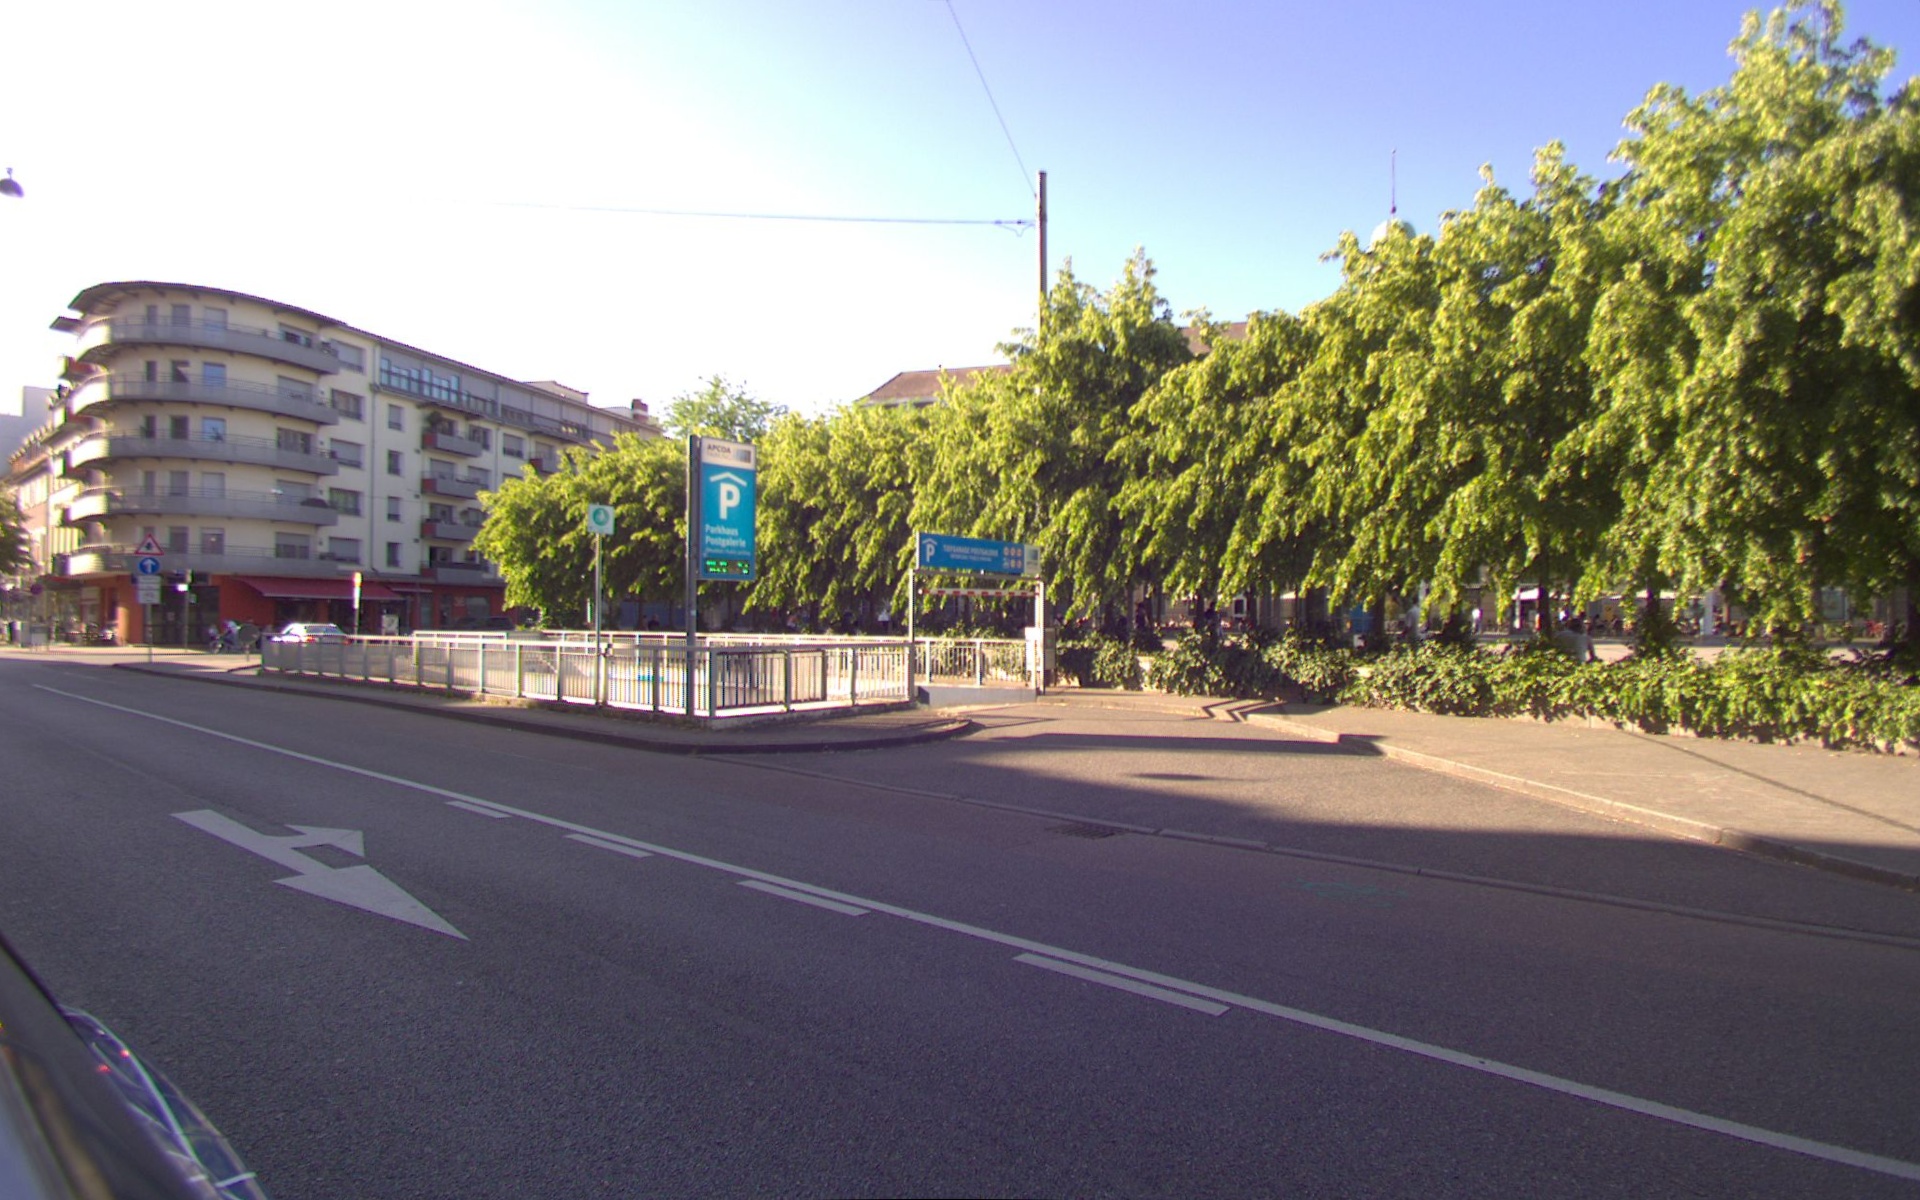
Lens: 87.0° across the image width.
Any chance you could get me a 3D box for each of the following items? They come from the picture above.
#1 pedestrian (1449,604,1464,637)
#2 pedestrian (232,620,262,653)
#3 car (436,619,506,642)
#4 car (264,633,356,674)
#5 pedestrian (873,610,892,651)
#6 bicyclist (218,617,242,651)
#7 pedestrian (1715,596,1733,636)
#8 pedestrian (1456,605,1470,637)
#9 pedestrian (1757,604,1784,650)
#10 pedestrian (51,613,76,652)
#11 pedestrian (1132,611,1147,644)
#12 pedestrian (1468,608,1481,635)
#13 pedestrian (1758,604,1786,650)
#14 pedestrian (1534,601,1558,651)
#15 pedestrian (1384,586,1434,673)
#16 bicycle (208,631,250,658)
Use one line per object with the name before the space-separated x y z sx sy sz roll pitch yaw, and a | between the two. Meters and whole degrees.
pedestrian | 25.995 1.070 52.996 0.643 1.734 0.603 -1 0 26
pedestrian | -35.147 1.779 49.873 0.877 1.607 0.861 -1 0 2
car | -30.498 1.893 63.211 1.742 1.311 3.977 -1 -1 17
car | -24.723 2.009 38.460 4.263 1.363 1.800 0 -3 41
pedestrian | -3.341 1.310 43.559 0.604 1.734 0.642 -1 0 21
bicyclist | -34.571 1.614 47.927 0.522 1.559 0.792 -1 0 24
pedestrian | 37.486 0.770 49.634 0.676 1.963 0.632 -1 0 38
pedestrian | 26.907 1.126 54.182 0.643 1.734 0.603 -1 0 26
pedestrian | 31.514 1.046 39.359 0.641 1.734 0.605 -1 0 18
pedestrian | -46.673 1.674 52.703 0.888 2.029 0.850 -1 0 40
pedestrian | 9.594 1.468 54.031 0.606 1.734 0.640 -1 0 31
pedestrian | 33.200 1.405 65.326 0.642 1.734 0.604 -1 0 20
pedestrian | 31.583 1.045 39.369 0.640 1.734 0.606 -1 0 13
pedestrian | 20.525 0.913 35.448 0.643 1.734 0.604 -1 0 22
pedestrian | 8.793 0.561 19.834 0.645 1.661 0.626 -1 0 -35
bicycle | -34.582 2.095 47.897 0.524 1.179 1.580 -1 0 24
